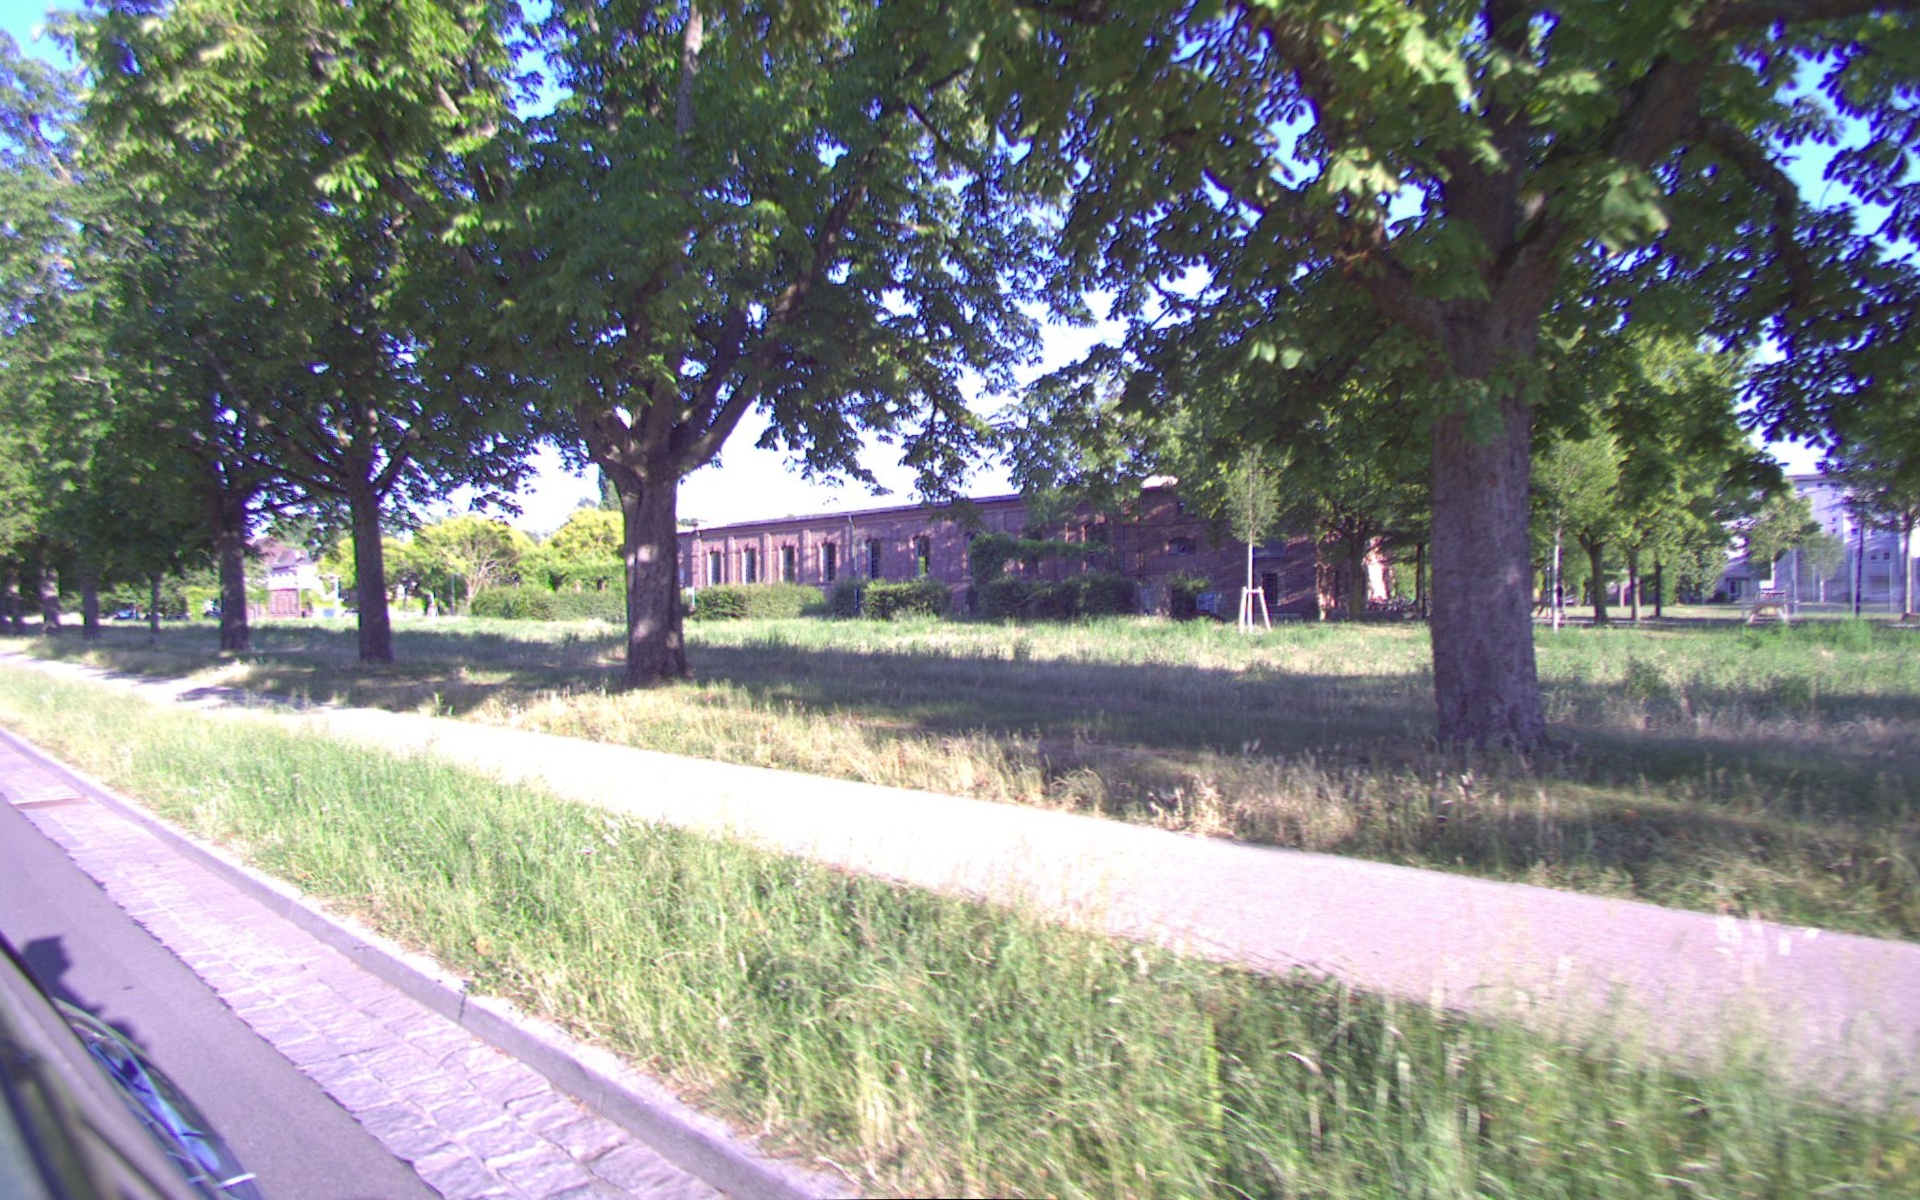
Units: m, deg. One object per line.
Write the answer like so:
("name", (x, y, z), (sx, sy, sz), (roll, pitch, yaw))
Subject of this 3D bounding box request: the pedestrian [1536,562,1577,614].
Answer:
("pedestrian", (21.879, -0.447, 37.129), (1.099, 1.877, 0.984), (-2, 0, -43))

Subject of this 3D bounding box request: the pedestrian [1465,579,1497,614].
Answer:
("pedestrian", (20.026, -0.137, 38.900), (0.980, 1.304, 1.104), (-1, 0, 32))

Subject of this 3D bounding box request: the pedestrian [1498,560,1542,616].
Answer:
("pedestrian", (18.976, -0.408, 34.280), (1.099, 1.877, 0.984), (-2, 0, -43))
